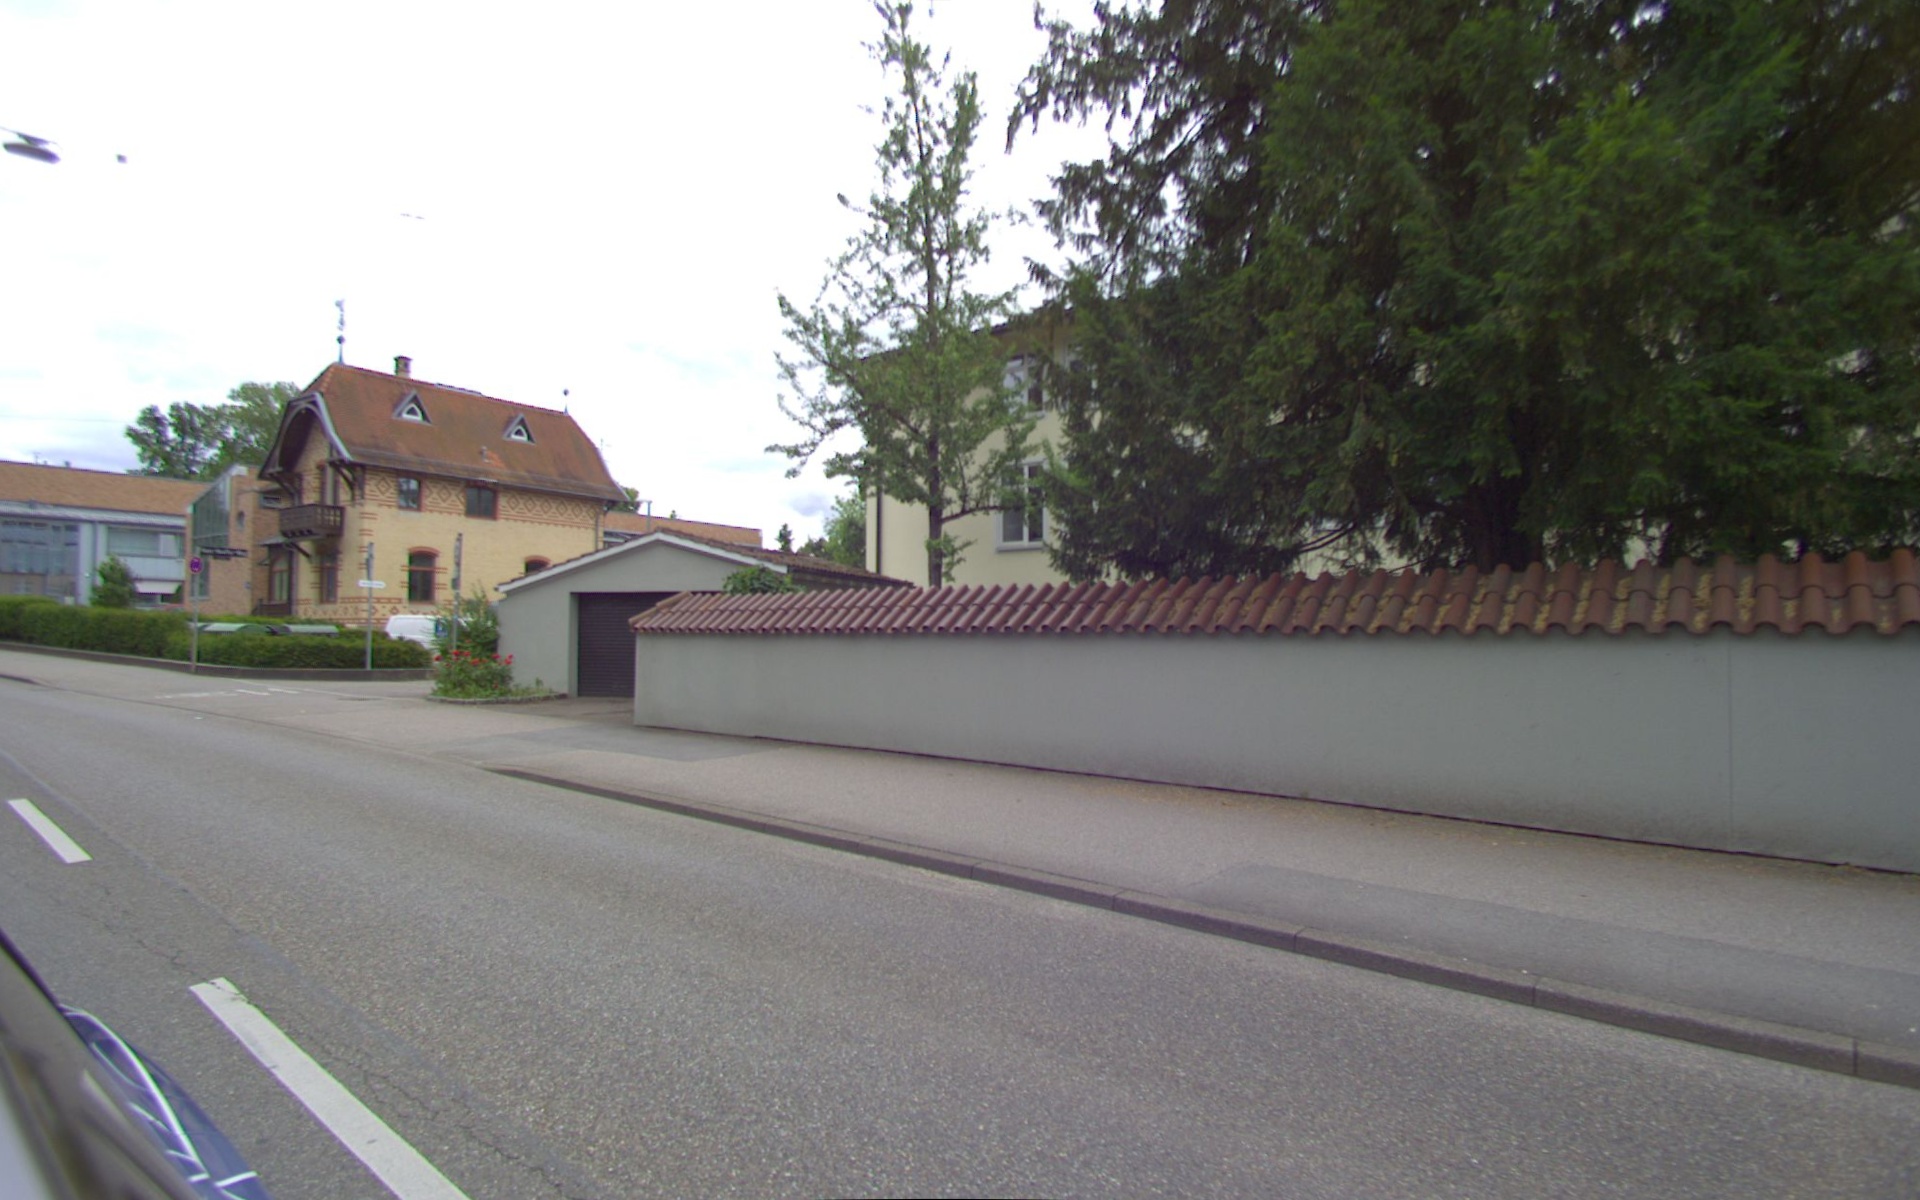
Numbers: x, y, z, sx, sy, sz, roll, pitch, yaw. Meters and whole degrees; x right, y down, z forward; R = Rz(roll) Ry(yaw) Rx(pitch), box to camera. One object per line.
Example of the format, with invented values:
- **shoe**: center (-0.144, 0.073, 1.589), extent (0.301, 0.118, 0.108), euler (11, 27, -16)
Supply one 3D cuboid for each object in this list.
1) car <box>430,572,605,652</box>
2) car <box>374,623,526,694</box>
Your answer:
- **car**: center (-15.321, 0.396, 35.040), extent (5.676, 2.639, 1.987), euler (1, -2, 19)
- **car**: center (-16.556, 1.844, 32.853), extent (4.586, 2.085, 1.880), euler (0, -2, 23)
